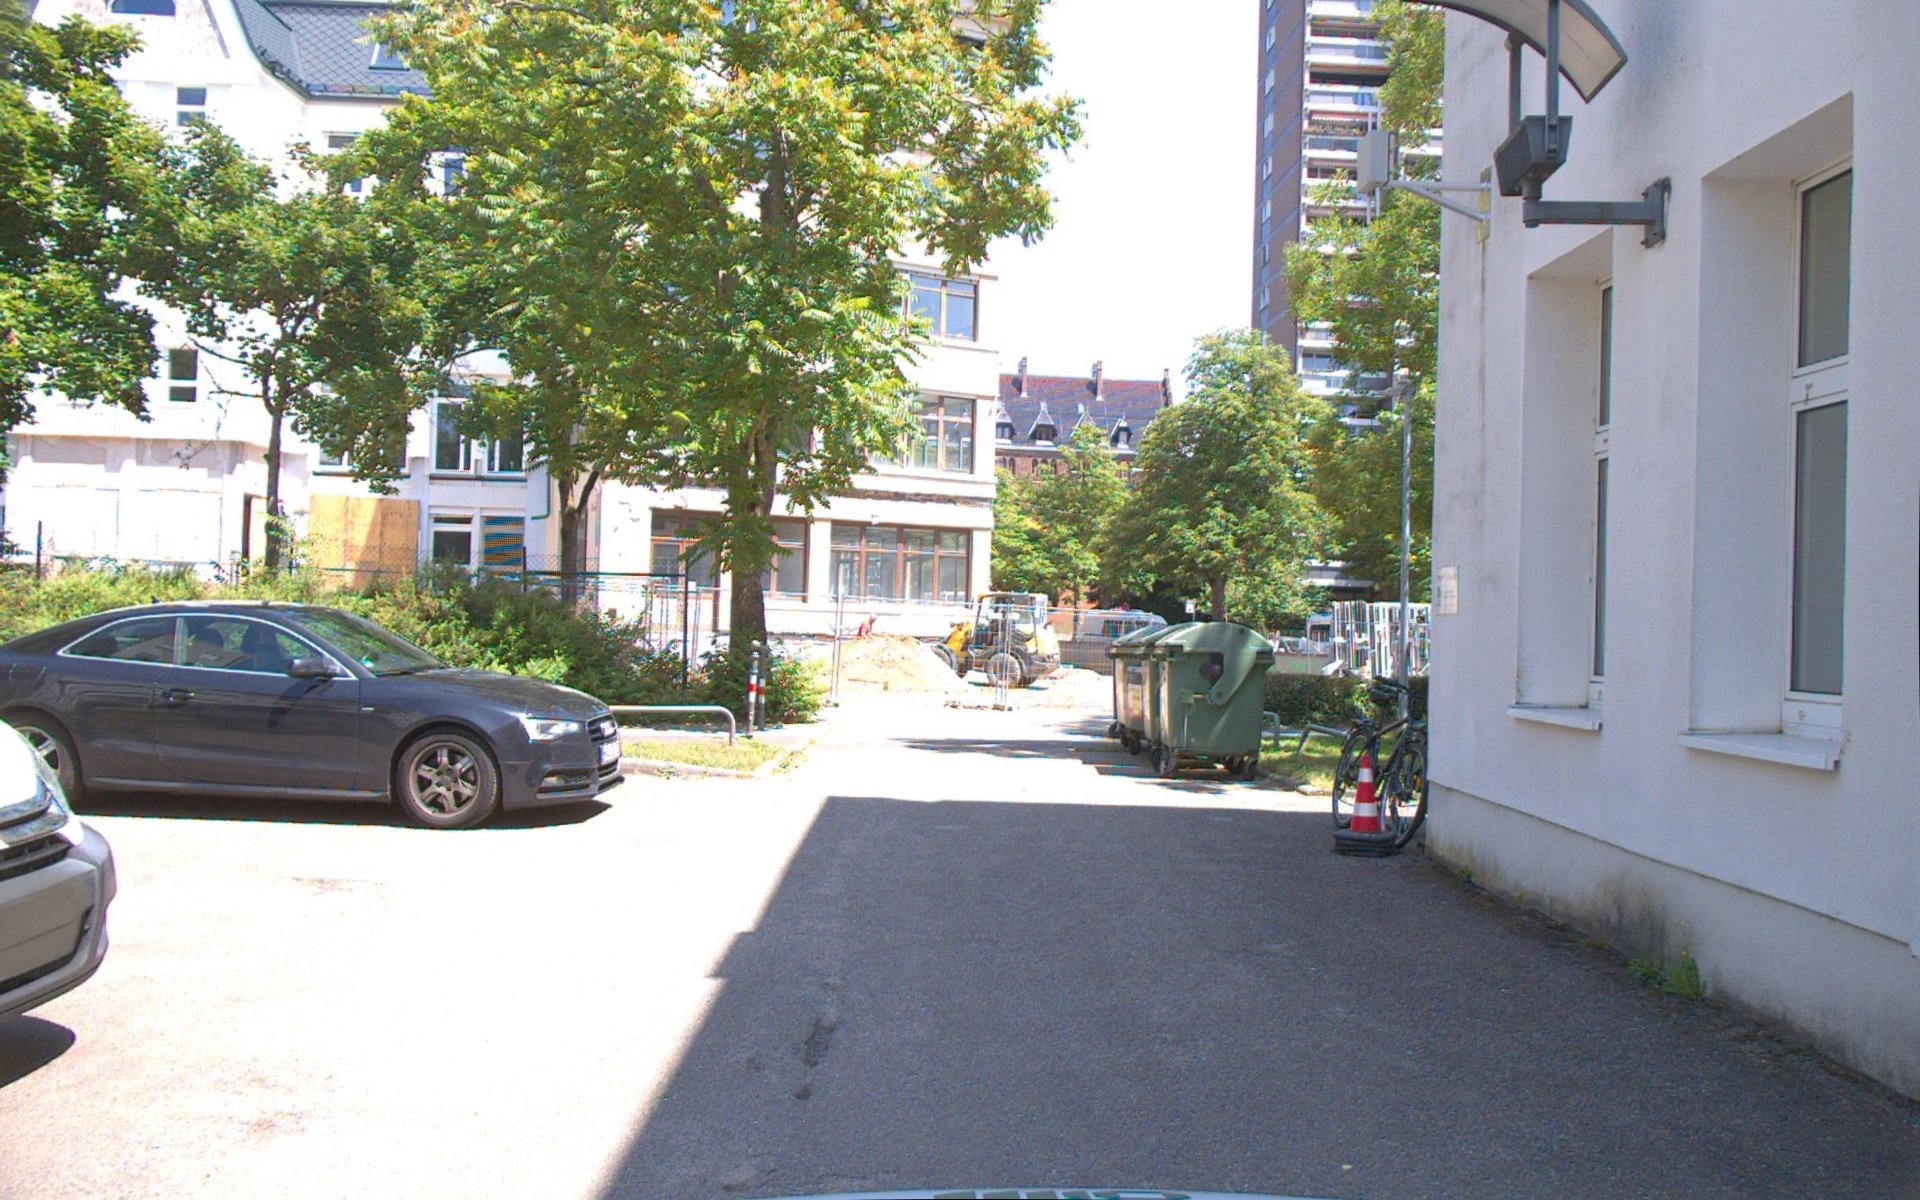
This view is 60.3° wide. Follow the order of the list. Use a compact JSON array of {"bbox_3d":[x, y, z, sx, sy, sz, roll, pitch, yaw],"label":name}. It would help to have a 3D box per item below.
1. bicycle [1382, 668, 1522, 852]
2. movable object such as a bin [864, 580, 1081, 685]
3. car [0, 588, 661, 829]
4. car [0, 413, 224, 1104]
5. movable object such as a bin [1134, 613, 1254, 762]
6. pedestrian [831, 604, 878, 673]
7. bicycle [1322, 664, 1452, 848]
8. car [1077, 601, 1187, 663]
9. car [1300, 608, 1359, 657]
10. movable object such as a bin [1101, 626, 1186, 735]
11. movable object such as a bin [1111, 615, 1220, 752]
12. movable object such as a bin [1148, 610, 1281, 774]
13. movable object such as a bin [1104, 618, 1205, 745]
[{"bbox_3d":[3.356,1.055,11.417,0.396,1.121,1.826,1,-1,0],"label":"bicycle"},{"bbox_3d":[0.334,0.863,44.846,5.300,2.507,2.364,3,-1,28],"label":"movable object such as a bin"},{"bbox_3d":[-4.440,0.688,11.330,4.337,1.404,2.024,1,-1,1],"label":"car"},{"bbox_3d":[-5.021,0.391,4.824,4.747,1.916,2.067,1,-1,1],"label":"car"},{"bbox_3d":[2.443,0.901,17.426,1.053,1.483,1.377,1,-1,0],"label":"movable object such as a bin"},{"bbox_3d":[-2.920,1.063,45.776,0.906,1.879,0.974,2,-2,-34],"label":"pedestrian"},{"bbox_3d":[2.898,1.019,11.359,0.396,1.121,1.826,1,-1,0],"label":"bicycle"},{"bbox_3d":[7.129,1.318,69.137,1.972,2.459,5.192,2,-2,-29],"label":"car"},{"bbox_3d":[18.173,1.608,81.238,2.139,2.298,4.868,1,-1,21],"label":"car"},{"bbox_3d":[2.626,1.141,23.825,1.053,1.483,1.377,1,-1,0],"label":"movable object such as a bin"},{"bbox_3d":[2.325,0.932,18.896,1.053,1.483,1.377,1,-1,0],"label":"movable object such as a bin"},{"bbox_3d":[2.433,0.868,15.983,1.053,1.483,1.377,1,-1,0],"label":"movable object such as a bin"},{"bbox_3d":[2.370,0.980,20.318,1.053,1.483,1.377,1,-1,0],"label":"movable object such as a bin"}]
